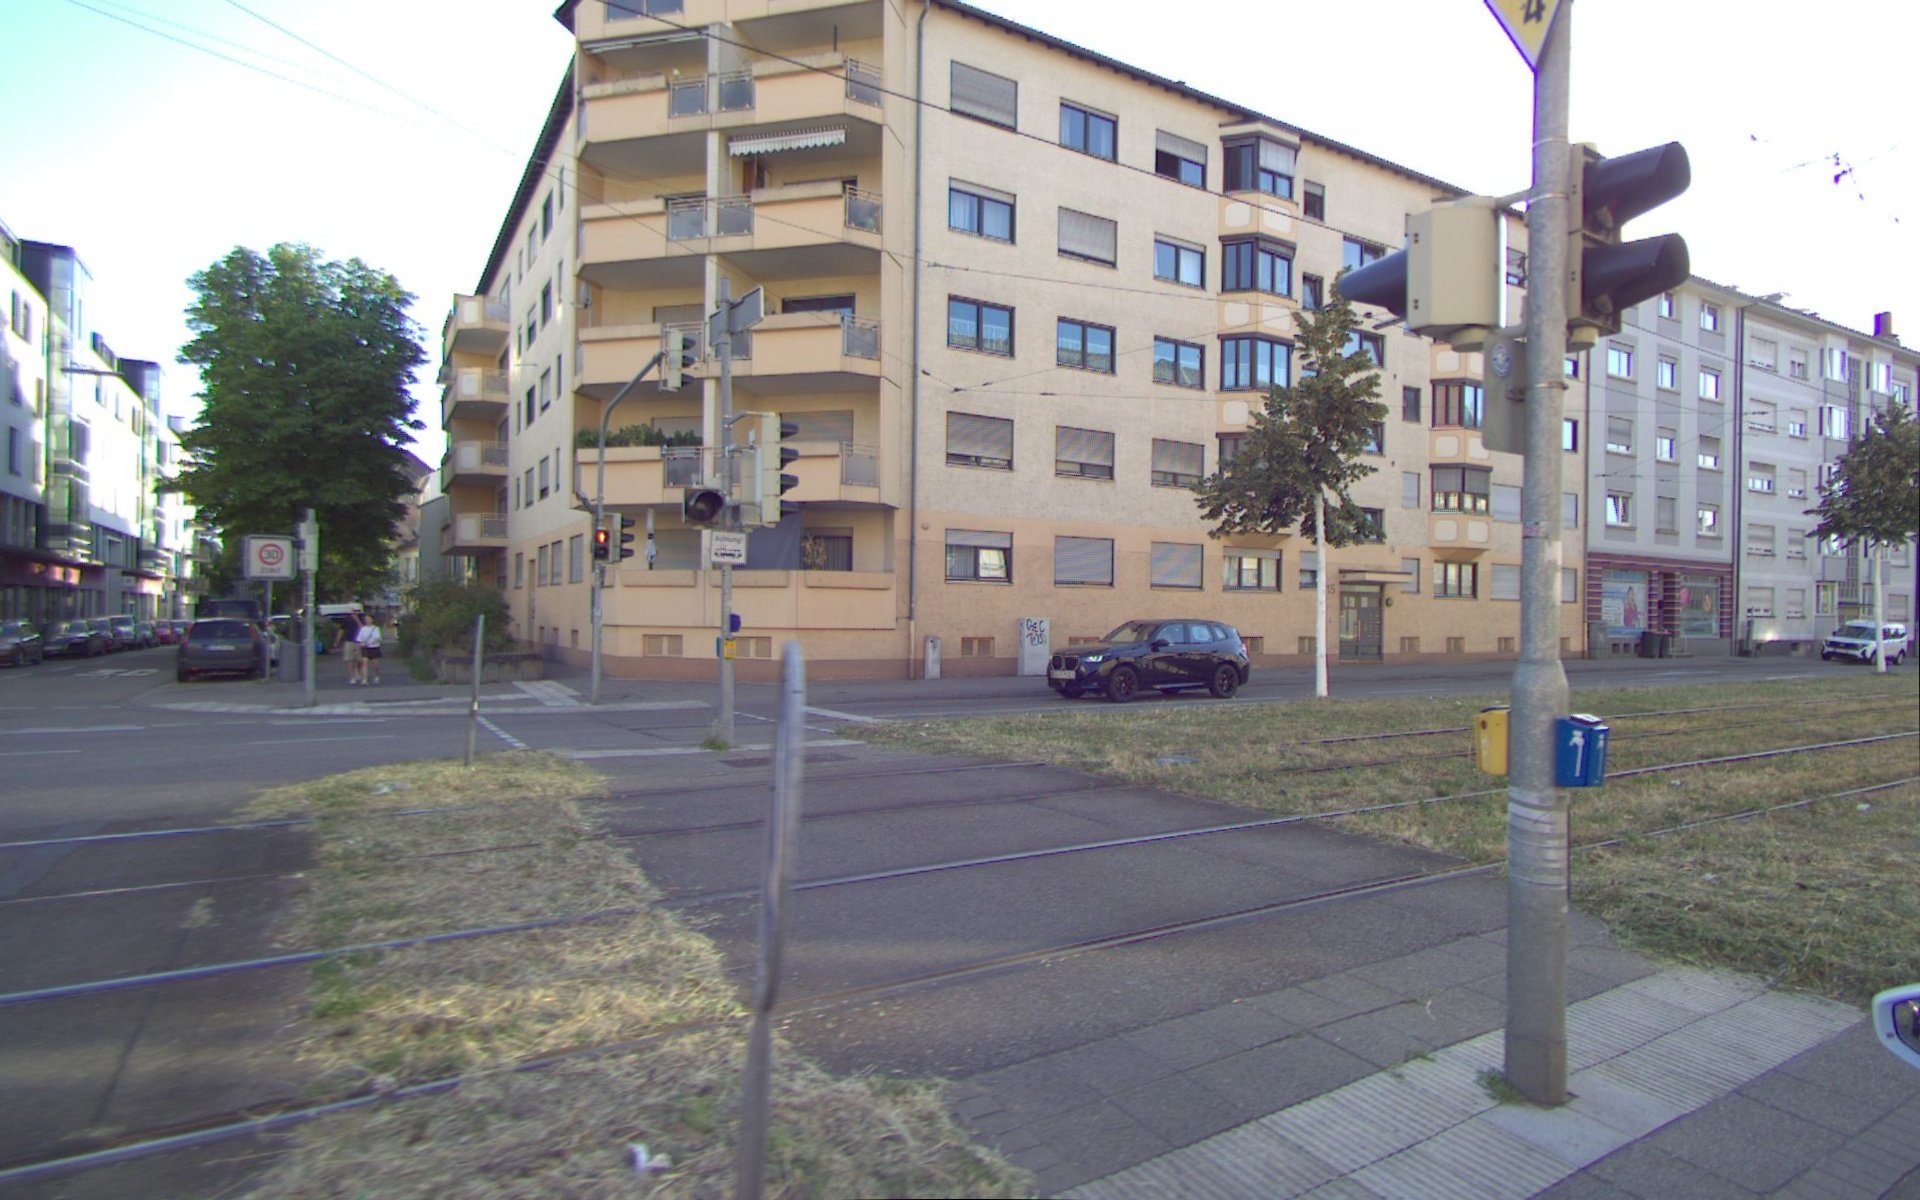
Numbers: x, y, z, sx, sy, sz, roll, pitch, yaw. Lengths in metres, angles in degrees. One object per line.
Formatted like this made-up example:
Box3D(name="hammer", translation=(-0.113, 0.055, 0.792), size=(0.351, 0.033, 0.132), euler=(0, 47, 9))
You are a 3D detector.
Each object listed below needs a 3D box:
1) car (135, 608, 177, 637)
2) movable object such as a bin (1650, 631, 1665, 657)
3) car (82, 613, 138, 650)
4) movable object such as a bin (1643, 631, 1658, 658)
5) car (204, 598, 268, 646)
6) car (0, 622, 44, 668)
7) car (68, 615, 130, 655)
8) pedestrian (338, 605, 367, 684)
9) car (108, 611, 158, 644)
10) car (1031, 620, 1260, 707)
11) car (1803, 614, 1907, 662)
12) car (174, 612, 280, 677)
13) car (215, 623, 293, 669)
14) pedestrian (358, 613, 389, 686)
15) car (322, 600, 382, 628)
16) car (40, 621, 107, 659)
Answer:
Box3D(name="car", translation=(-48.577, 1.326, 60.732), size=(1.617, 1.594, 3.505), euler=(2, 0, -33))
Box3D(name="movable object such as a bin", translation=(27.838, 1.752, 40.095), size=(0.437, 1.050, 0.297), euler=(2, 0, -32))
Box3D(name="car", translation=(-40.929, 1.510, 48.440), size=(1.617, 1.594, 3.505), euler=(2, 0, -33))
Box3D(name="movable object such as a bin", translation=(27.391, 1.748, 39.847), size=(0.437, 1.050, 0.297), euler=(2, 0, -32))
Box3D(name="car", translation=(-32.705, 0.983, 45.473), size=(1.978, 2.040, 3.965), euler=(2, -1, -32))
Box3D(name="car", translation=(-30.439, 1.393, 31.792), size=(1.486, 1.328, 3.108), euler=(2, -1, -30))
Box3D(name="car", translation=(-38.251, 1.519, 44.709), size=(1.617, 1.594, 3.505), euler=(2, 0, -33))
Box3D(name="pedestrian", translation=(-13.697, 1.000, 22.644), size=(0.457, 1.728, 0.588), euler=(2, 0, -25))
Box3D(name="car", translation=(-43.455, 1.420, 52.815), size=(1.617, 1.594, 3.505), euler=(2, 0, -33))
Box3D(name="car", translation=(3.976, 1.292, 21.274), size=(4.692, 1.655, 1.888), euler=(2, -1, -31))
Box3D(name="car", translation=(39.760, 1.688, 44.616), size=(4.484, 1.950, 1.986), euler=(2, 0, -28))
Box3D(name="car", translation=(-18.324, 1.044, 25.050), size=(1.983, 1.462, 3.956), euler=(0, -1, -39))
Box3D(name="car", translation=(-22.184, 1.430, 31.659), size=(1.753, 1.280, 3.280), euler=(2, -1, -32))
Box3D(name="pedestrian", translation=(-12.974, 1.078, 22.229), size=(0.509, 1.573, 0.547), euler=(0, 1, -25))
Box3D(name="car", translation=(-41.691, 0.945, 68.954), size=(3.448, 1.819, 1.688), euler=(2, 0, -31))
Box3D(name="car", translation=(-34.578, 1.538, 39.226), size=(1.416, 1.293, 3.325), euler=(2, 0, -32))
